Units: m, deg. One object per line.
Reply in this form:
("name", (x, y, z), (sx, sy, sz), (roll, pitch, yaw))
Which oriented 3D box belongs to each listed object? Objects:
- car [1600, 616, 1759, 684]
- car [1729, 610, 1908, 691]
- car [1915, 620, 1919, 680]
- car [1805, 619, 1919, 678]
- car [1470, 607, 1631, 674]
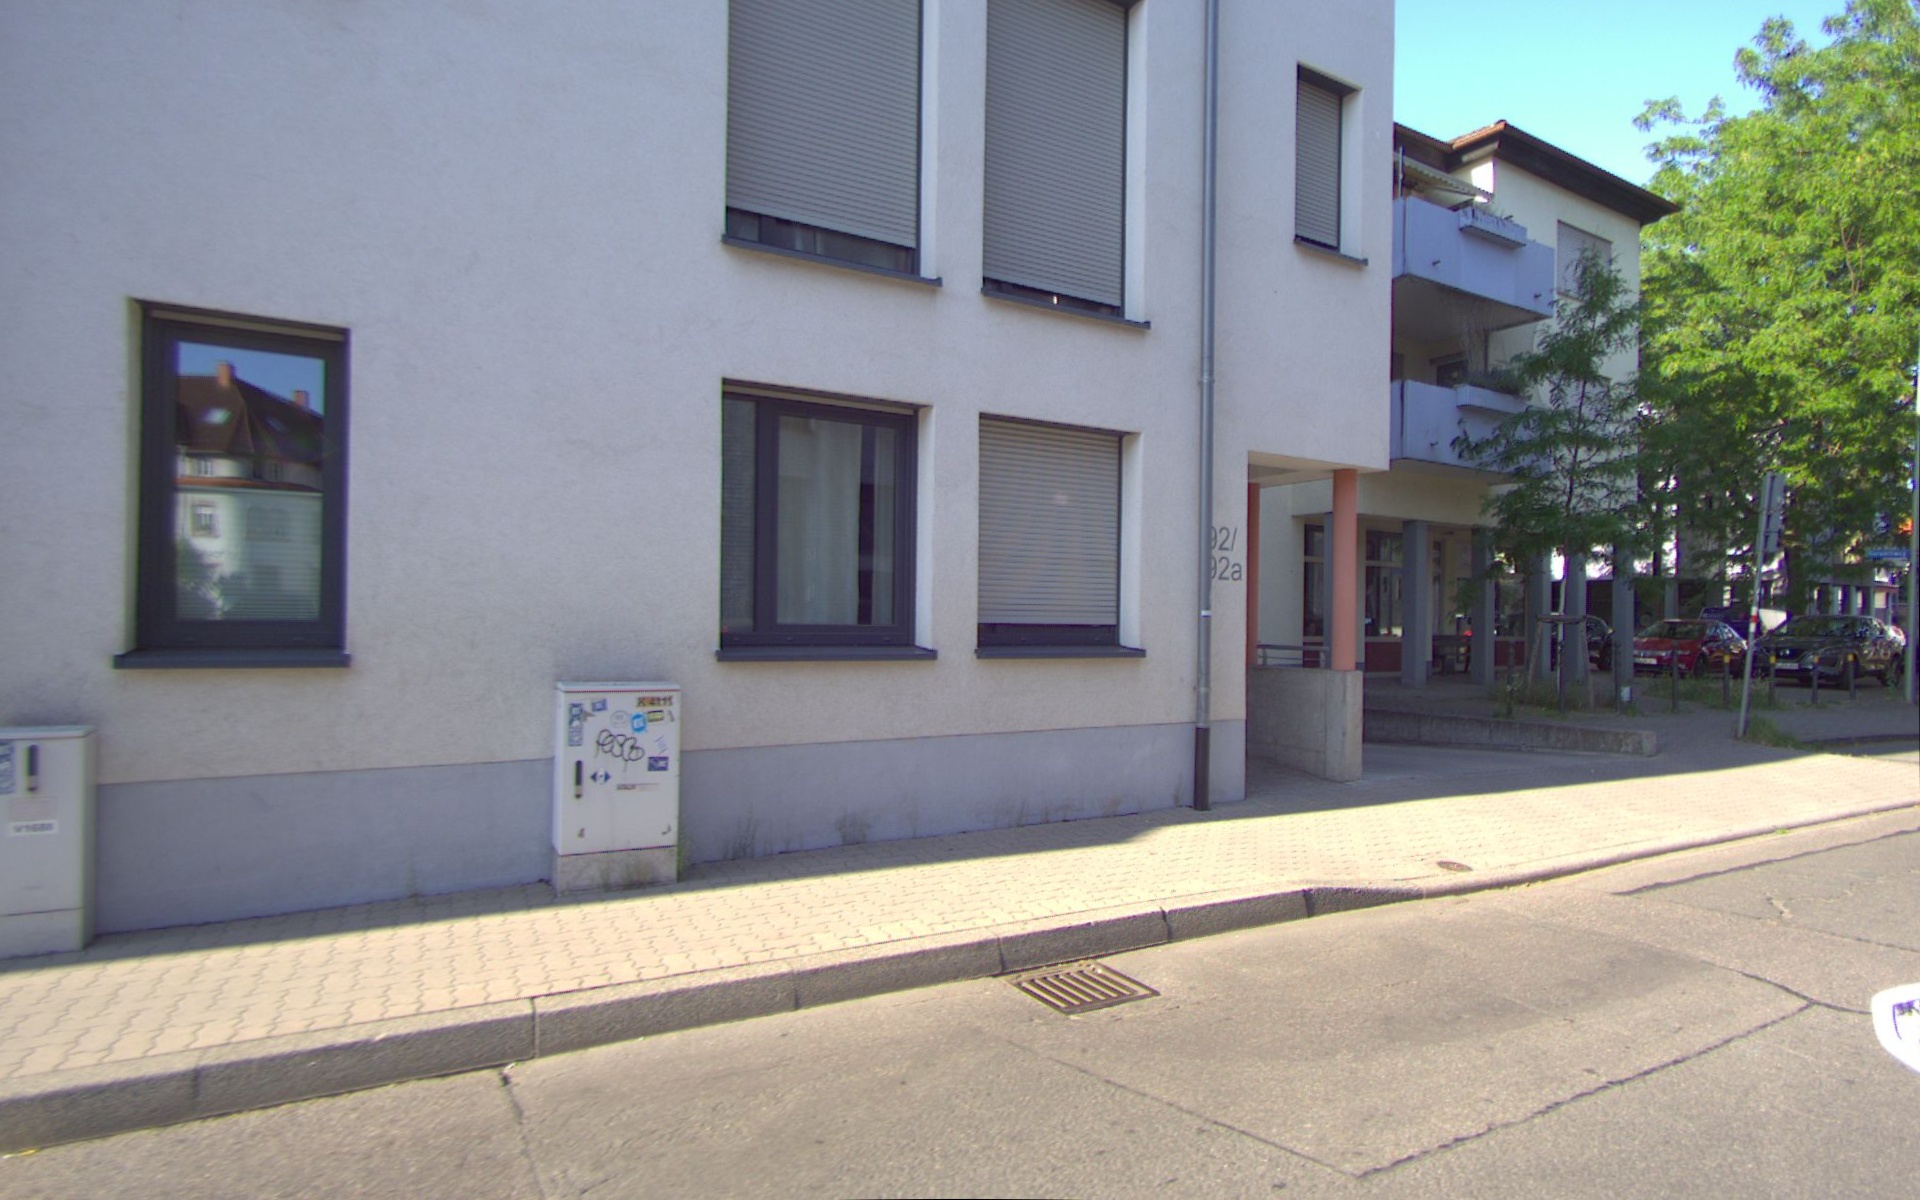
("car", (17.876, 1.196, 24.920), (4.096, 1.468, 1.709), (1, 2, -32))
("car", (19.767, 1.101, 23.075), (4.571, 1.608, 1.847), (1, 2, -33))
("car", (29.337, 1.491, 28.820), (3.920, 1.712, 1.780), (1, 2, -31))
("car", (27.975, 1.468, 30.919), (3.628, 1.608, 1.848), (1, 2, -30))
("car", (16.197, 1.079, 27.496), (4.569, 1.608, 1.848), (1, 2, -32))
